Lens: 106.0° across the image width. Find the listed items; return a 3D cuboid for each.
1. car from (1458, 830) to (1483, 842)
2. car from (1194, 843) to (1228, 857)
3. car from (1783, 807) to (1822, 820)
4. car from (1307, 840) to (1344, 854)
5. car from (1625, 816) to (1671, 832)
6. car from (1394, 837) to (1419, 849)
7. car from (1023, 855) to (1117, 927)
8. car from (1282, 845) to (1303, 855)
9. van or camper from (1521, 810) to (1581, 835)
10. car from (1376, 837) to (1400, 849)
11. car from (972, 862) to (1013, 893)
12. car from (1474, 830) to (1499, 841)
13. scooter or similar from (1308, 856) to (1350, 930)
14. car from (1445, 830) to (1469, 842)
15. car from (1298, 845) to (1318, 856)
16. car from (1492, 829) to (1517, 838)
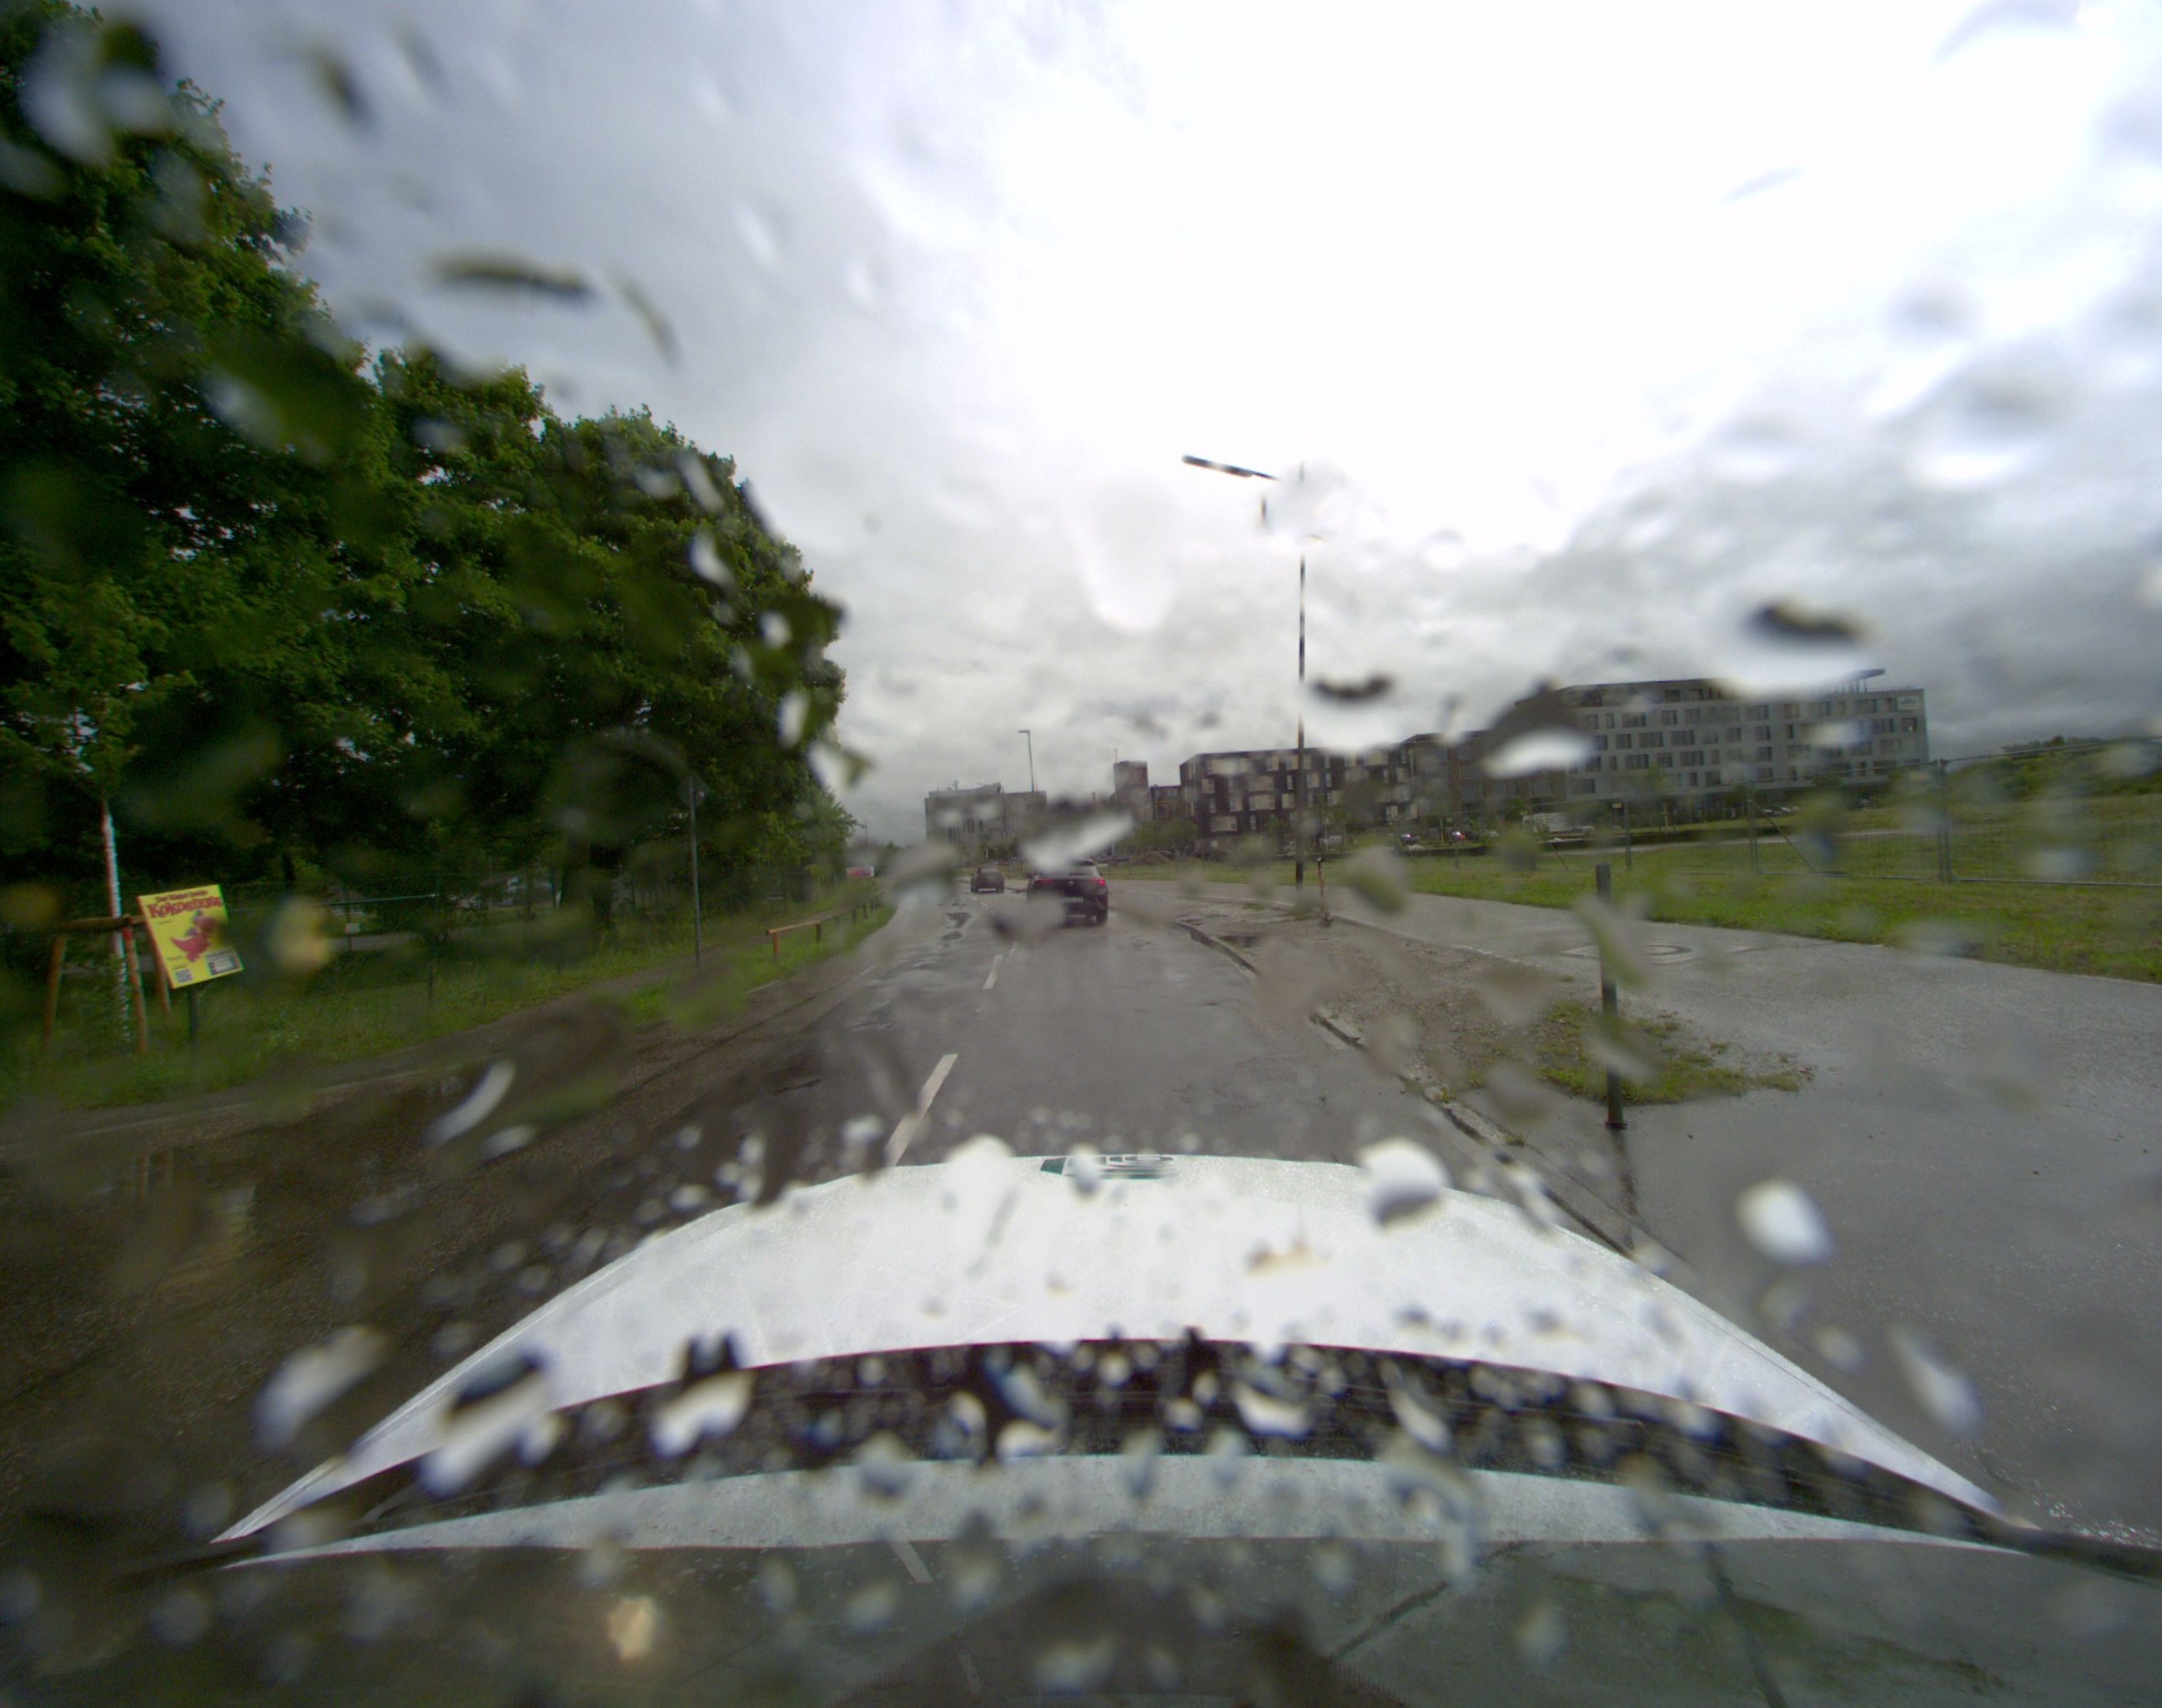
[{"bbox_3d":[57.570,-2.679,120.446,1.541,1.615,3.835,-1,-1,-5],"label":"car"},{"bbox_3d":[17.061,-0.521,106.801,3.985,1.728,1.994,-1,-1,-8],"label":"car"},{"bbox_3d":[105.449,-5.874,119.140,1.789,1.687,4.366,-1,0,-2],"label":"car"},{"bbox_3d":[32.567,-0.902,108.379,4.314,1.772,1.997,1,-1,-4],"label":"car"},{"bbox_3d":[75.683,-4.005,108.809,4.782,2.014,1.999,-1,-1,-1],"label":"car"},{"bbox_3d":[47.883,-1.600,119.845,1.777,1.615,3.835,-1,-1,-5],"label":"car"},{"bbox_3d":[-0.374,0.824,19.717,1.983,1.520,3.993,-1,0,-5],"label":"car"},{"bbox_3d":[30.776,-0.551,118.663,1.760,1.395,3.801,-1,0,-5],"label":"car"},{"bbox_3d":[63.865,-4.226,110.695,6.765,3.201,2.526,-1,-1,-4],"label":"van or camper"},{"bbox_3d":[45.156,-1.565,119.747,1.777,1.615,3.835,-1,-1,-5],"label":"car"},{"bbox_3d":[-5.004,1.278,45.767,1.842,1.442,3.985,-6,1,-11],"label":"car"},{"bbox_3d":[60.006,-2.721,120.704,1.541,1.615,3.835,-1,-1,-5],"label":"car"},{"bbox_3d":[4.446,0.669,14.678,0.488,1.215,1.344,-4,0,10],"label":"scooter or similar"},{"bbox_3d":[55.511,-2.644,120.306,1.541,1.615,3.835,-1,-1,-5],"label":"car"},{"bbox_3d":[33.032,-0.444,118.734,1.635,1.396,3.775,-2,-1,-4],"label":"car"},{"bbox_3d":[62.925,-3.028,121.070,1.544,1.296,3.897,-1,0,-5],"label":"car"}]
